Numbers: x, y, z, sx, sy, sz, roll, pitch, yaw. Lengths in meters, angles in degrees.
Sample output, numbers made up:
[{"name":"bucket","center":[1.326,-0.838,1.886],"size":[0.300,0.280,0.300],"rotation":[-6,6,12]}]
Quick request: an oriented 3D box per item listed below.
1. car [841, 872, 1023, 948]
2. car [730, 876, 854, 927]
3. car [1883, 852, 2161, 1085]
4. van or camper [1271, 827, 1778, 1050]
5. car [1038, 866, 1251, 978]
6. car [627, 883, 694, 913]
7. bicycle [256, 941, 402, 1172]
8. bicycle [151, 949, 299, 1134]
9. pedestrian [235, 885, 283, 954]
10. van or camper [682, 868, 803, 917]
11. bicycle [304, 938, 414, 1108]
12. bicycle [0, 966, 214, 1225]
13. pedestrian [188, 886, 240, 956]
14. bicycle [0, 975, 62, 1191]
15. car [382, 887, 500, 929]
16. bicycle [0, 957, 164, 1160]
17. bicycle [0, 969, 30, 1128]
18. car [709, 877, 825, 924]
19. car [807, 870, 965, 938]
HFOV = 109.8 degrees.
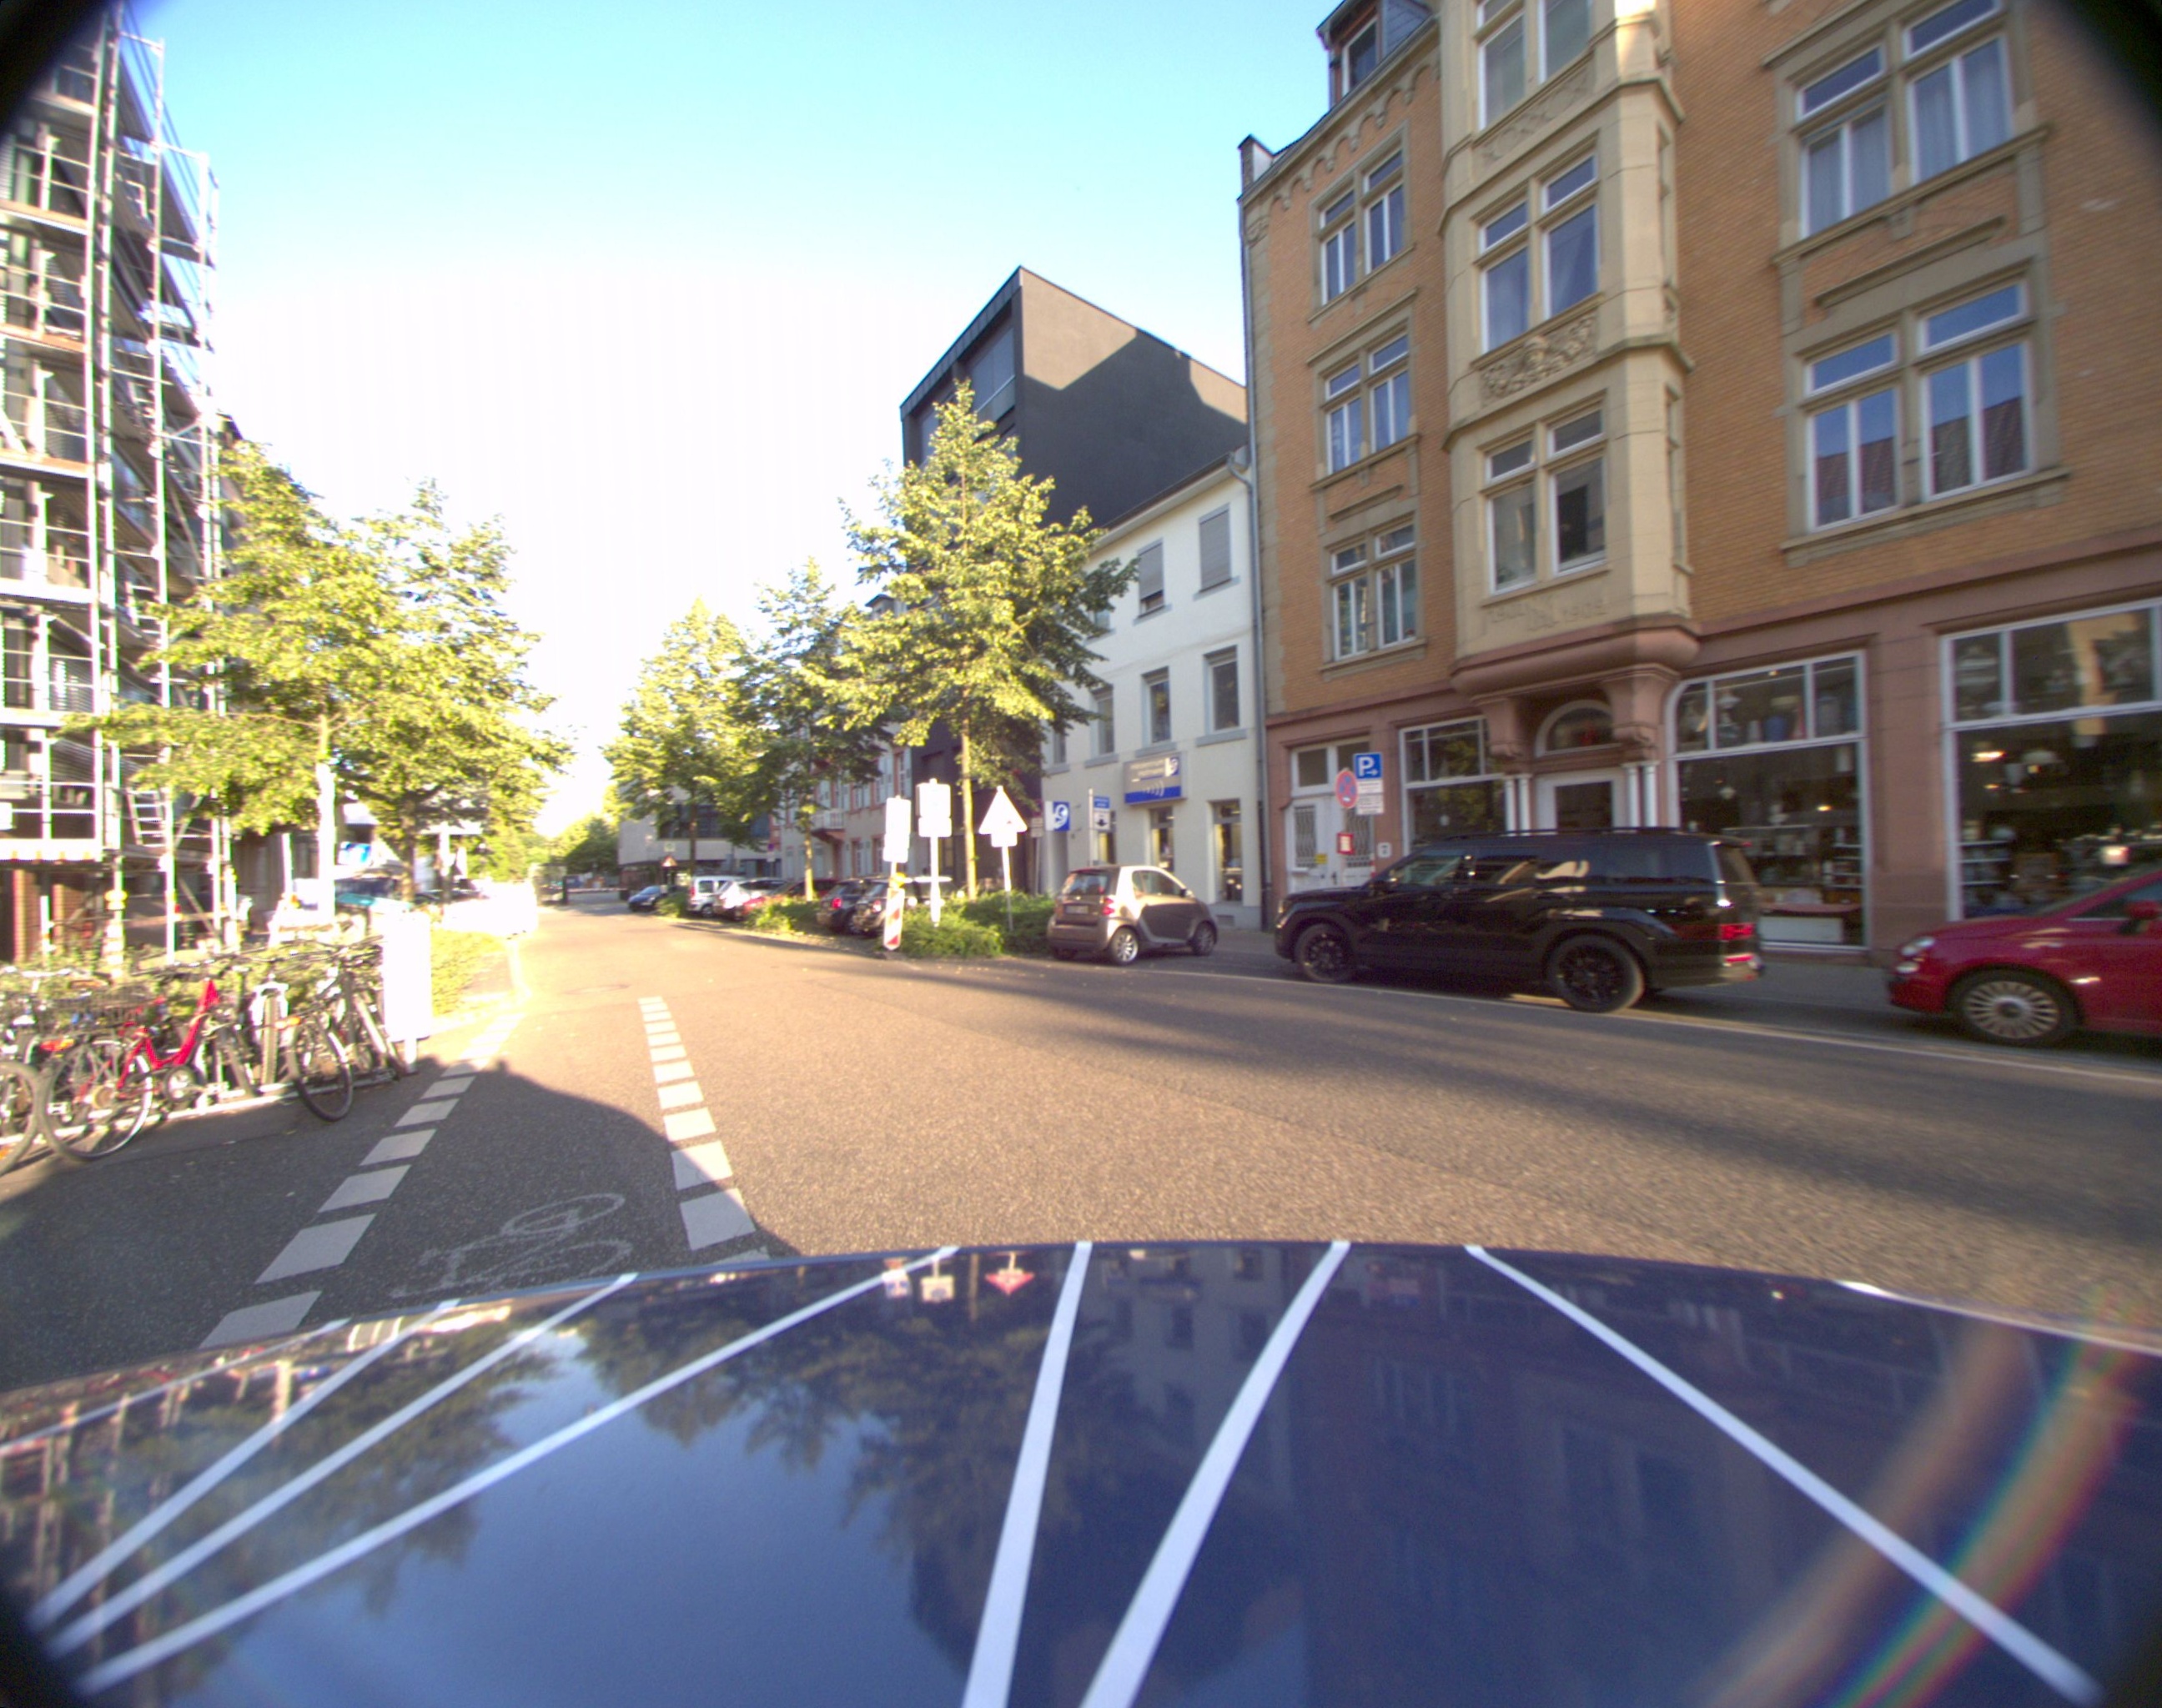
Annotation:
[{"name":"car","center":[-3.614,1.289,18.738],"size":[4.017,1.660,1.853],"rotation":[1,-2,-40]},{"name":"car","center":[-10.215,1.623,26.948],"size":[3.705,1.660,1.853],"rotation":[1,-2,-40]},{"name":"car","center":[8.111,0.762,5.205],"size":[1.534,1.560,3.413],"rotation":[0,-2,-36]},{"name":"van or camper","center":[4.575,0.744,8.398],"size":[1.900,1.796,4.449],"rotation":[0,-1,-43]},{"name":"car","center":[1.144,1.031,12.765],"size":[3.488,1.566,1.504],"rotation":[-1,-1,-40]},{"name":"car","center":[-23.373,2.405,42.379],"size":[1.858,1.558,3.697],"rotation":[0,-2,-4]},{"name":"bicycle","center":[-5.100,1.276,5.225],"size":[0.500,1.213,1.548],"rotation":[-1,-1,-37]},{"name":"bicycle","center":[-6.819,1.416,6.119],"size":[0.490,1.156,1.548],"rotation":[-1,-1,-37]},{"name":"pedestrian","center":[-22.209,1.745,20.544],"size":[0.745,1.773,0.655],"rotation":[-2,0,-39]},{"name":"van or camper","center":[-14.742,1.625,33.215],"size":[4.464,1.993,1.853],"rotation":[1,-2,-40]},{"name":"bicycle","center":[-6.213,1.381,6.599],"size":[0.510,1.171,1.548],"rotation":[-1,-1,-37]},{"name":"bicycle","center":[-5.890,1.347,4.596],"size":[0.419,1.150,1.548],"rotation":[-1,-1,-32]},{"name":"pedestrian","center":[-22.640,1.728,19.853],"size":[0.745,1.773,0.655],"rotation":[-2,0,-37]},{"name":"bicycle","center":[-6.302,1.341,4.198],"size":[0.382,1.152,1.548],"rotation":[-1,-1,-37]},{"name":"car","center":[-29.402,2.450,35.078],"size":[4.007,1.674,1.886],"rotation":[0,-1,-35]},{"name":"bicycle","center":[-7.346,1.409,5.540],"size":[0.490,1.143,1.548],"rotation":[-1,-1,-37]},{"name":"bicycle","center":[-7.971,1.448,5.202],"size":[0.469,1.137,1.548],"rotation":[-1,-1,-37]},{"name":"car","center":[-11.910,1.706,28.893],"size":[3.705,1.660,1.853],"rotation":[1,-2,-40]},{"name":"car","center":[-5.218,1.290,20.555],"size":[3.705,1.660,1.853],"rotation":[1,-2,-40]}]
